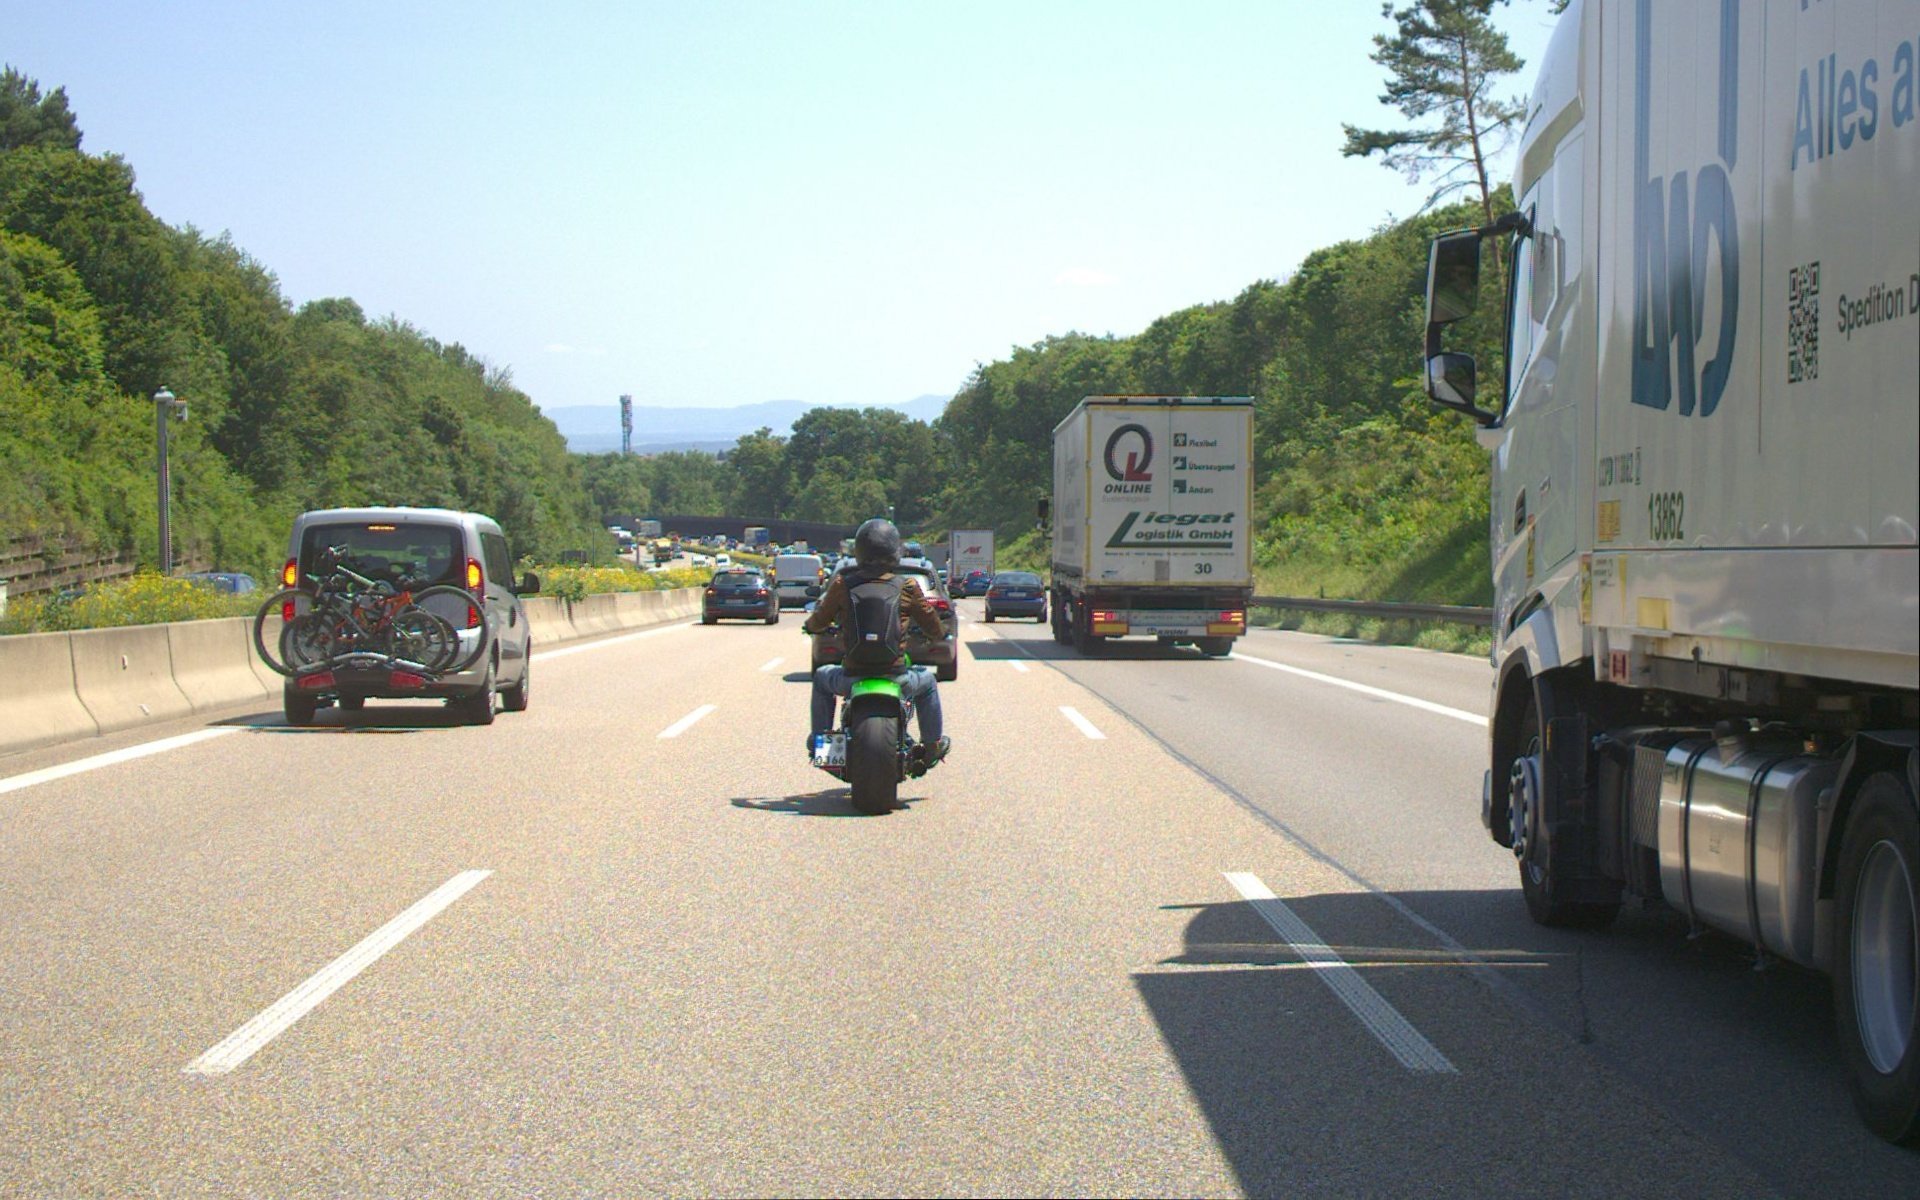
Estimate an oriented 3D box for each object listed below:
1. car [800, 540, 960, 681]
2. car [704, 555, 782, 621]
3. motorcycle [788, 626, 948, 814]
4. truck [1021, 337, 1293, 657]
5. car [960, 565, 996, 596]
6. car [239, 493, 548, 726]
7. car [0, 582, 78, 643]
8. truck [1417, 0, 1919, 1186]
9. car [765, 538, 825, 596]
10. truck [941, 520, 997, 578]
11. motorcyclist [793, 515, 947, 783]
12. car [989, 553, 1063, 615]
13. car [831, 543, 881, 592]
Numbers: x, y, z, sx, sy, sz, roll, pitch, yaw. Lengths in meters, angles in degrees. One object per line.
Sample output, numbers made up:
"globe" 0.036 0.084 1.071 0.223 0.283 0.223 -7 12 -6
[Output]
"car" -0.981 0.084 42.355 1.845 1.552 4.440 1 2 -1
"car" -5.473 -0.327 86.989 1.757 1.538 4.395 1 2 -1
"motorcycle" -0.510 0.671 20.015 0.862 0.978 2.131 1 1 0
"truck" 3.124 -1.766 60.710 3.383 4.701 17.710 2 1 -1
"car" 0.973 -1.071 185.720 1.831 1.553 4.120 1 2 -1
"car" -4.866 0.032 30.296 1.898 1.841 5.483 1 1 -1
"car" -24.684 0.323 90.470 1.937 1.516 4.203 -1 1 -1
"truck" 3.529 -0.712 10.106 2.680 4.045 10.627 1 1 -1
"car" -5.411 -1.109 113.025 1.831 1.804 4.120 1 2 -1
"truck" 0.509 -3.137 208.501 3.067 3.335 9.653 2 1 -1
"motorcyclist" -0.511 0.272 19.908 0.856 1.510 0.914 1 1 0
"car" 1.765 -0.455 93.429 1.831 1.553 4.120 1 2 -1
"car" -4.000 -1.267 132.530 1.831 1.804 4.120 1 2 -1
